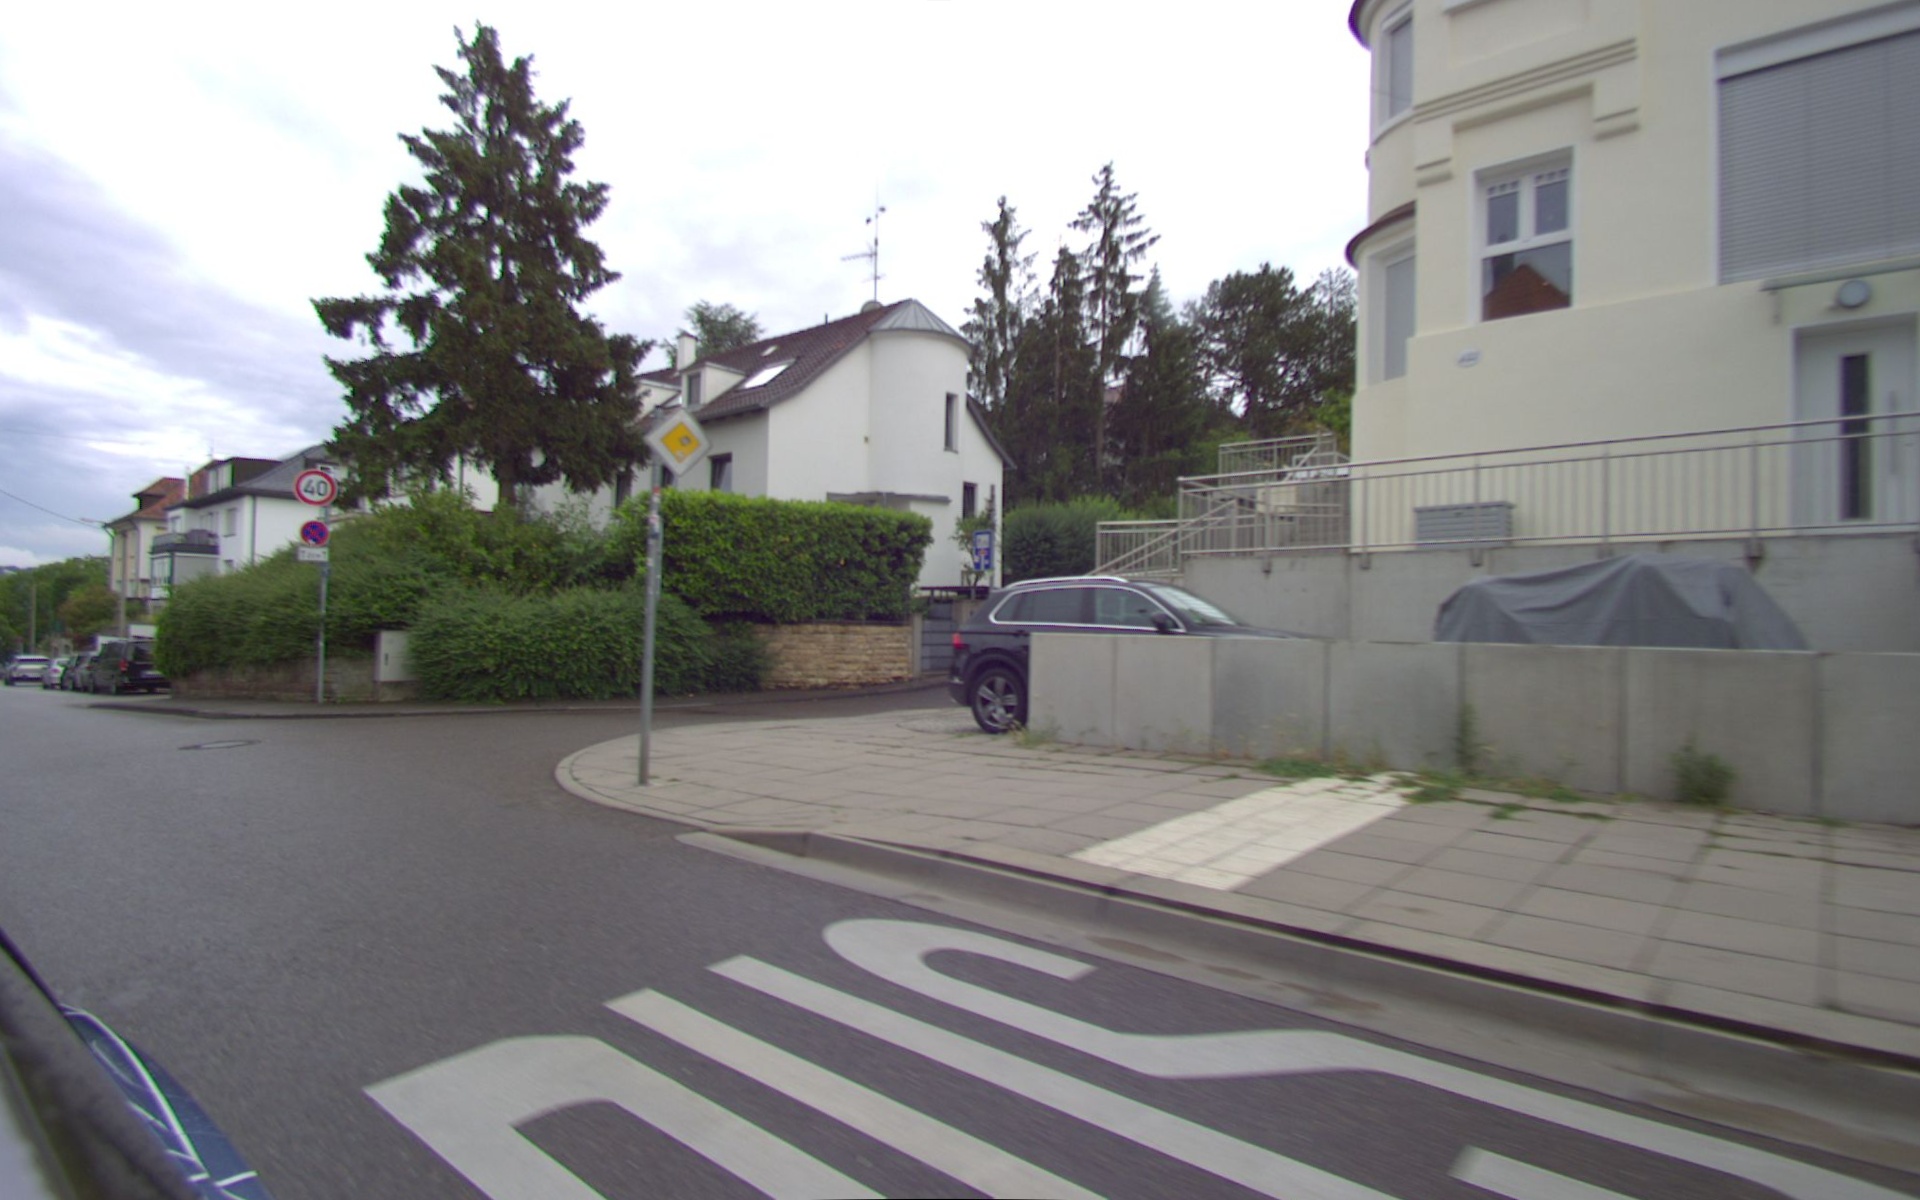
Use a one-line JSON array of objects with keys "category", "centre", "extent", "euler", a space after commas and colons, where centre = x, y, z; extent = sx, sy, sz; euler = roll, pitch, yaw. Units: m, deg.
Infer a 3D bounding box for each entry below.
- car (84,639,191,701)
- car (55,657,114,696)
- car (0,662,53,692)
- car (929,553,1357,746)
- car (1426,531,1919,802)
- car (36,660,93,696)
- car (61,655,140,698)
[{"category": "car", "centre": [-28.973, 2.467, 35.598], "extent": [4.769, 1.972, 1.974], "euler": [-4, -2, 39]}, {"category": "car", "centre": [-36.660, 3.210, 42.344], "extent": [2.893, 1.502, 1.502], "euler": [-4, -3, 41]}, {"category": "car", "centre": [-49.779, 4.066, 53.929], "extent": [4.001, 1.512, 1.843], "euler": [-3, -3, 44]}, {"category": "car", "centre": [1.784, 0.516, 10.507], "extent": [3.993, 1.630, 1.749], "euler": [-3, -3, 37]}, {"category": "car", "centre": [5.895, 0.472, 7.641], "extent": [3.993, 1.709, 1.749], "euler": [-3, -3, 37]}, {"category": "car", "centre": [-40.317, 3.502, 45.556], "extent": [3.436, 1.502, 1.573], "euler": [-4, -3, 42]}, {"category": "car", "centre": [-33.520, 2.963, 39.442], "extent": [4.400, 1.502, 1.674], "euler": [-4, -2, 41]}]
